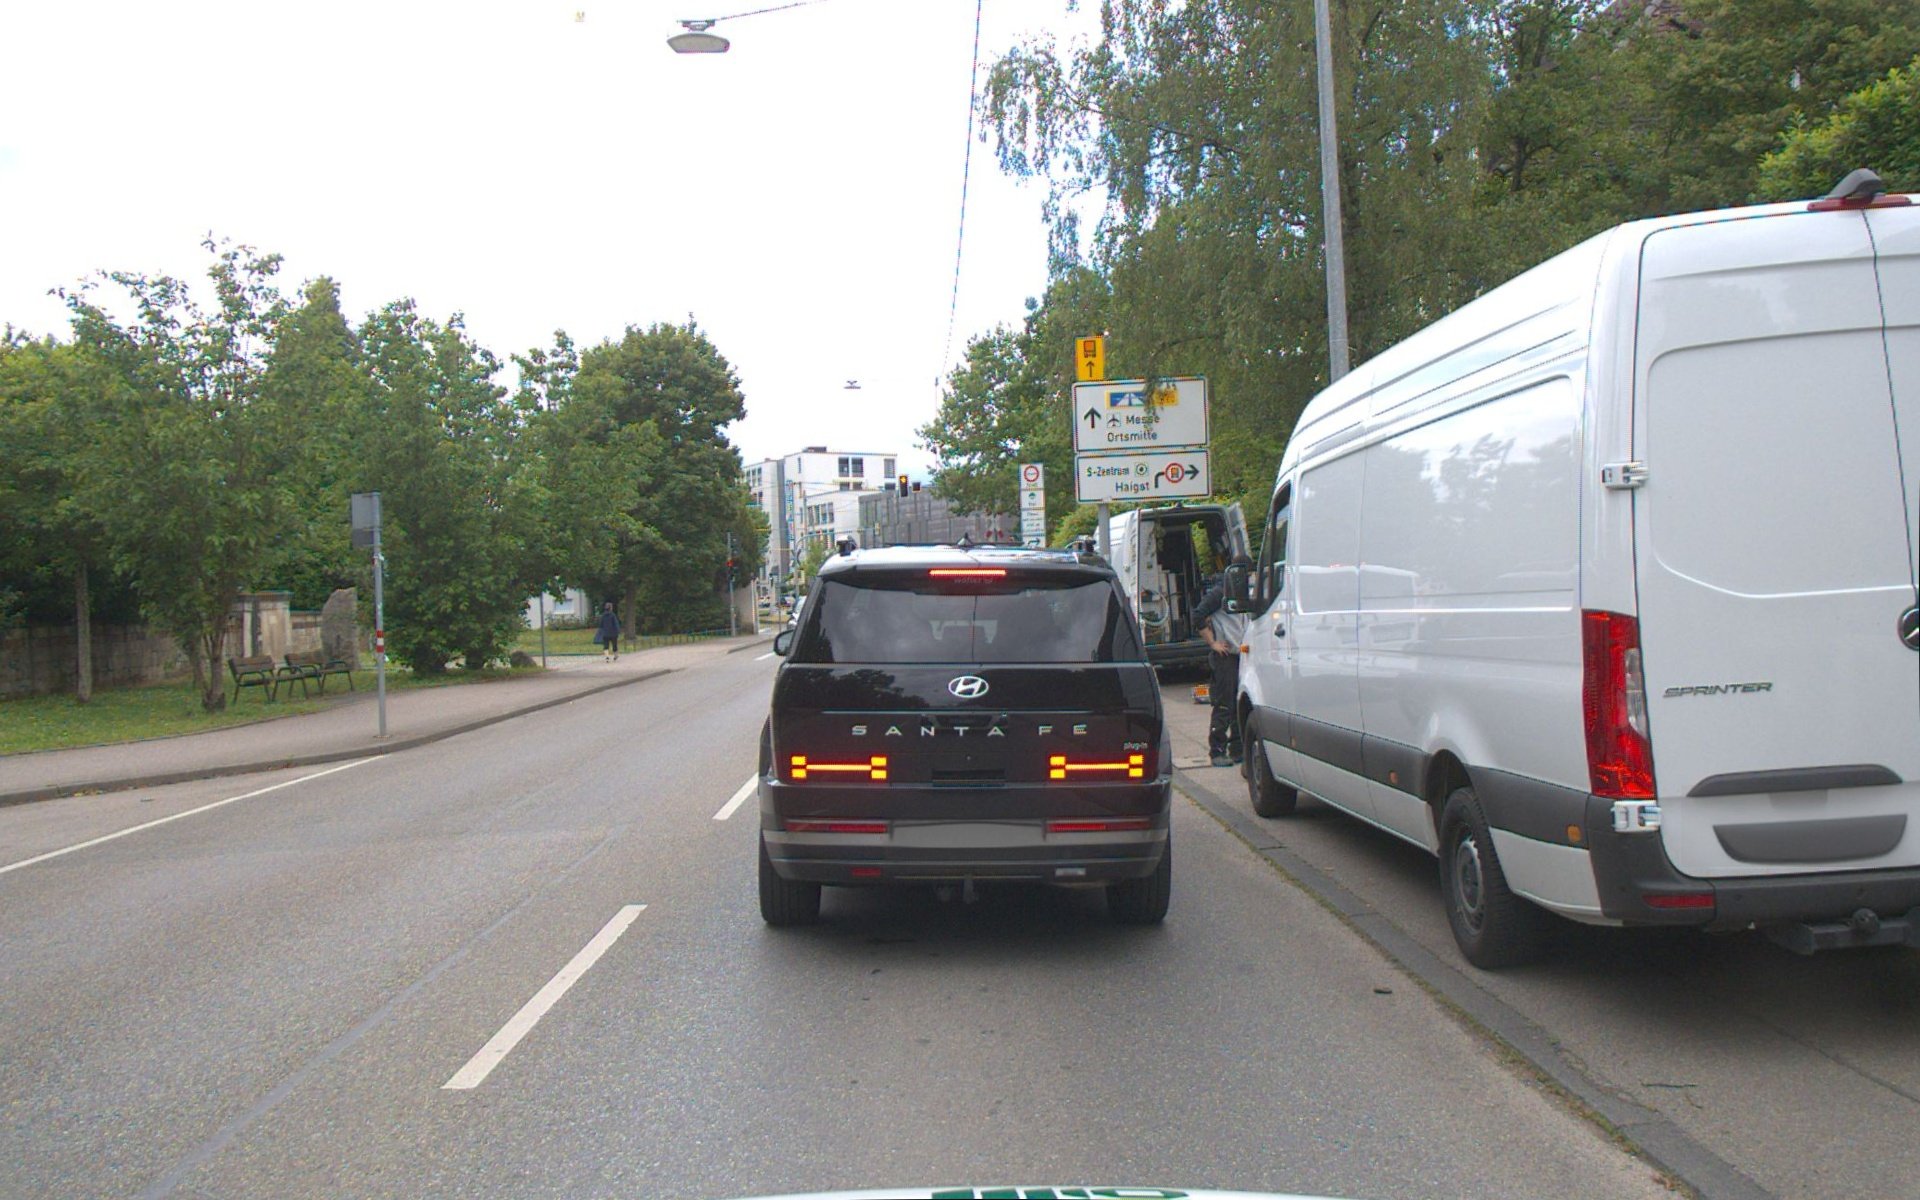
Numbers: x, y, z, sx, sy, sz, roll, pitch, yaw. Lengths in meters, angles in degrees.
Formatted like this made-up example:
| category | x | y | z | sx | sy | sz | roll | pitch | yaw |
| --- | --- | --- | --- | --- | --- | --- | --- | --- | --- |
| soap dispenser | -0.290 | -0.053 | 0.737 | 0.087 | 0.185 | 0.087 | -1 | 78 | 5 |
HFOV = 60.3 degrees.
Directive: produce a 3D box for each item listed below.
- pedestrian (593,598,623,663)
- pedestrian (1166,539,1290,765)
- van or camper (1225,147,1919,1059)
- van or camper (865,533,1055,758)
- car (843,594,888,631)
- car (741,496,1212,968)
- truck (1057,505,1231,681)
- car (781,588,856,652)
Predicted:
| category | x | y | z | sx | sy | sz | roll | pitch | yaw |
| --- | --- | --- | --- | --- | --- | --- | --- | --- | --- |
| pedestrian | -9.714 | 0.838 | 45.662 | 0.724 | 1.745 | 0.791 | -2 | 0 | -8 |
| pedestrian | 2.246 | 0.422 | 13.953 | 0.852 | 1.828 | 0.759 | -2 | 0 | -2 |
| van or camper | 2.891 | -0.023 | 8.166 | 1.953 | 2.665 | 6.540 | -2 | 0 | -1 |
| van or camper | -0.031 | 0.417 | 17.470 | 1.719 | 2.049 | 3.999 | -2 | 0 | -1 |
| car | -4.303 | 0.552 | 75.858 | 1.822 | 1.478 | 4.110 | -4 | 0 | -1 |
| car | 0.039 | 0.511 | 8.527 | 1.851 | 1.851 | 3.999 | 0 | 0 | -1 |
| truck | 2.985 | -0.099 | 28.059 | 1.904 | 2.606 | 5.212 | -3 | 0 | -4 |
| car | -4.177 | 0.565 | 49.375 | 1.822 | 1.686 | 4.305 | -4 | 0 | -1 |
